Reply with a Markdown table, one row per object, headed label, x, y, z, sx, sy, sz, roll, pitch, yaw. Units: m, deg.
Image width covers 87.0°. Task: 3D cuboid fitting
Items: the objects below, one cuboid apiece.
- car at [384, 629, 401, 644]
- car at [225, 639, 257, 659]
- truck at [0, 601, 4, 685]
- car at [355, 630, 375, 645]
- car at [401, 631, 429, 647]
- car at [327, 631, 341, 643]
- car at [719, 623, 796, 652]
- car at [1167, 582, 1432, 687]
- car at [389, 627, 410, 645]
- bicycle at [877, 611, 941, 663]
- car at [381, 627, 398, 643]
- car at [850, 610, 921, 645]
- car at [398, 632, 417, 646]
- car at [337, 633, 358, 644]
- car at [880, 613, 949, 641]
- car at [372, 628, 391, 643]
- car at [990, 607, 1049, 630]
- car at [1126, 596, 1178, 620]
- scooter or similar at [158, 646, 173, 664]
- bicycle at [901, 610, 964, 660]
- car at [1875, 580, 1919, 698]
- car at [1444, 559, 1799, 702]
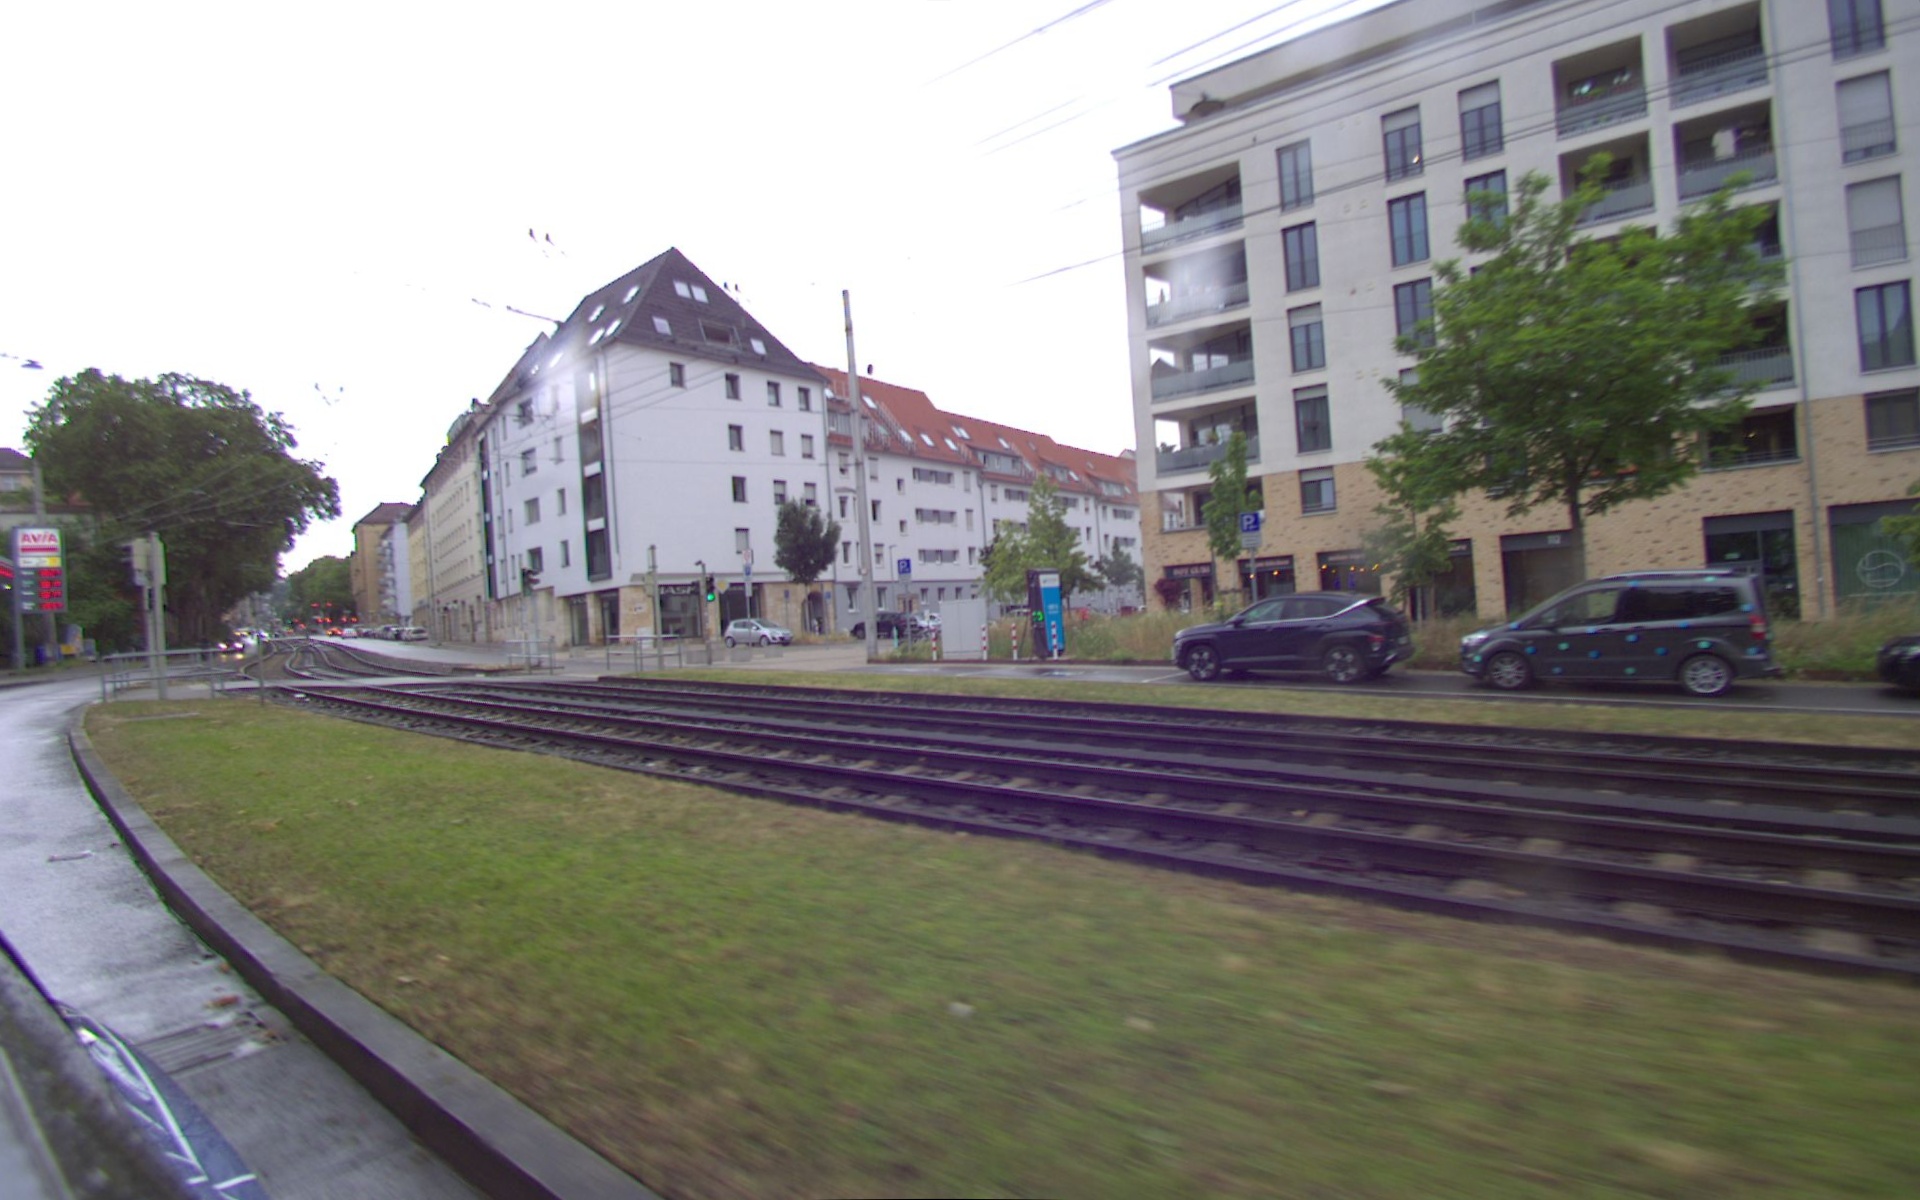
| label | x | y | z | sx | sy | sz | roll | pitch | yaw |
| --- | --- | --- | --- | --- | --- | --- | --- | --- | --- |
| car | -68.053 | 4.341 | 121.348 | 1.355 | 1.766 | 3.414 | -2 | 0 | -37 |
| car | -61.357 | 4.194 | 86.405 | 1.858 | 1.502 | 3.861 | -1 | 0 | -30 |
| truck | -42.290 | 1.851 | 40.348 | 6.050 | 3.425 | 2.832 | -2 | -1 | 6 |
| car | -88.395 | 5.533 | 150.363 | 1.998 | 2.029 | 4.237 | -2 | 0 | -37 |
| car | -57.819 | 4.110 | 107.290 | 1.998 | 1.554 | 4.009 | -2 | 0 | -37 |
| car | -109.834 | 6.527 | 177.644 | 1.918 | 2.029 | 4.011 | -2 | 0 | -33 |
| car | -10.492 | 1.946 | 52.440 | 3.905 | 1.431 | 1.583 | -2 | 0 | 33 |
| car | 6.228 | 0.600 | 18.790 | 4.212 | 1.616 | 1.974 | -1 | 3 | 40 |
| car | -64.630 | 4.139 | 116.645 | 1.701 | 1.975 | 4.310 | -2 | 0 | -35 |
| bicycle | -1.681 | 1.191 | 32.946 | 0.667 | 1.608 | 2.363 | -2 | 0 | -44 |
| car | -70.499 | 4.345 | 125.090 | 1.532 | 1.897 | 4.052 | -2 | 0 | -34 |
| car | -4.567 | 1.676 | 61.811 | 3.992 | 2.029 | 1.917 | -2 | -1 | 36 |
| car | -60.539 | 4.257 | 110.911 | 1.305 | 1.495 | 3.198 | -2 | 0 | -37 |
| car | -89.136 | 5.612 | 147.186 | 1.666 | 1.548 | 5.023 | -1 | -1 | -42 |
| car | -2.906 | 1.726 | 64.022 | 3.992 | 1.630 | 1.917 | -2 | -1 | 36 |
| car | -74.309 | 4.532 | 129.920 | 1.700 | 1.822 | 3.600 | -2 | 0 | -37 |
| car | 4.429 | 1.406 | 75.910 | 3.993 | 1.630 | 1.916 | -2 | -1 | 37 |
| car | 17.375 | 0.761 | 91.606 | 4.328 | 2.029 | 1.821 | -3 | -1 | 44 |
| scooter or similar | -57.543 | 3.989 | 73.285 | 0.394 | 1.201 | 1.367 | -2 | 2 | -20 |
| bicycle | -0.933 | 1.158 | 33.681 | 0.667 | 1.608 | 2.363 | -2 | 0 | -44 |
| car | 14.145 | 0.450 | 12.290 | 4.395 | 1.458 | 1.535 | -2 | 1 | 40 |
| car | 9.923 | 0.424 | 15.407 | 4.328 | 1.873 | 1.566 | -1 | 2 | 40 |
